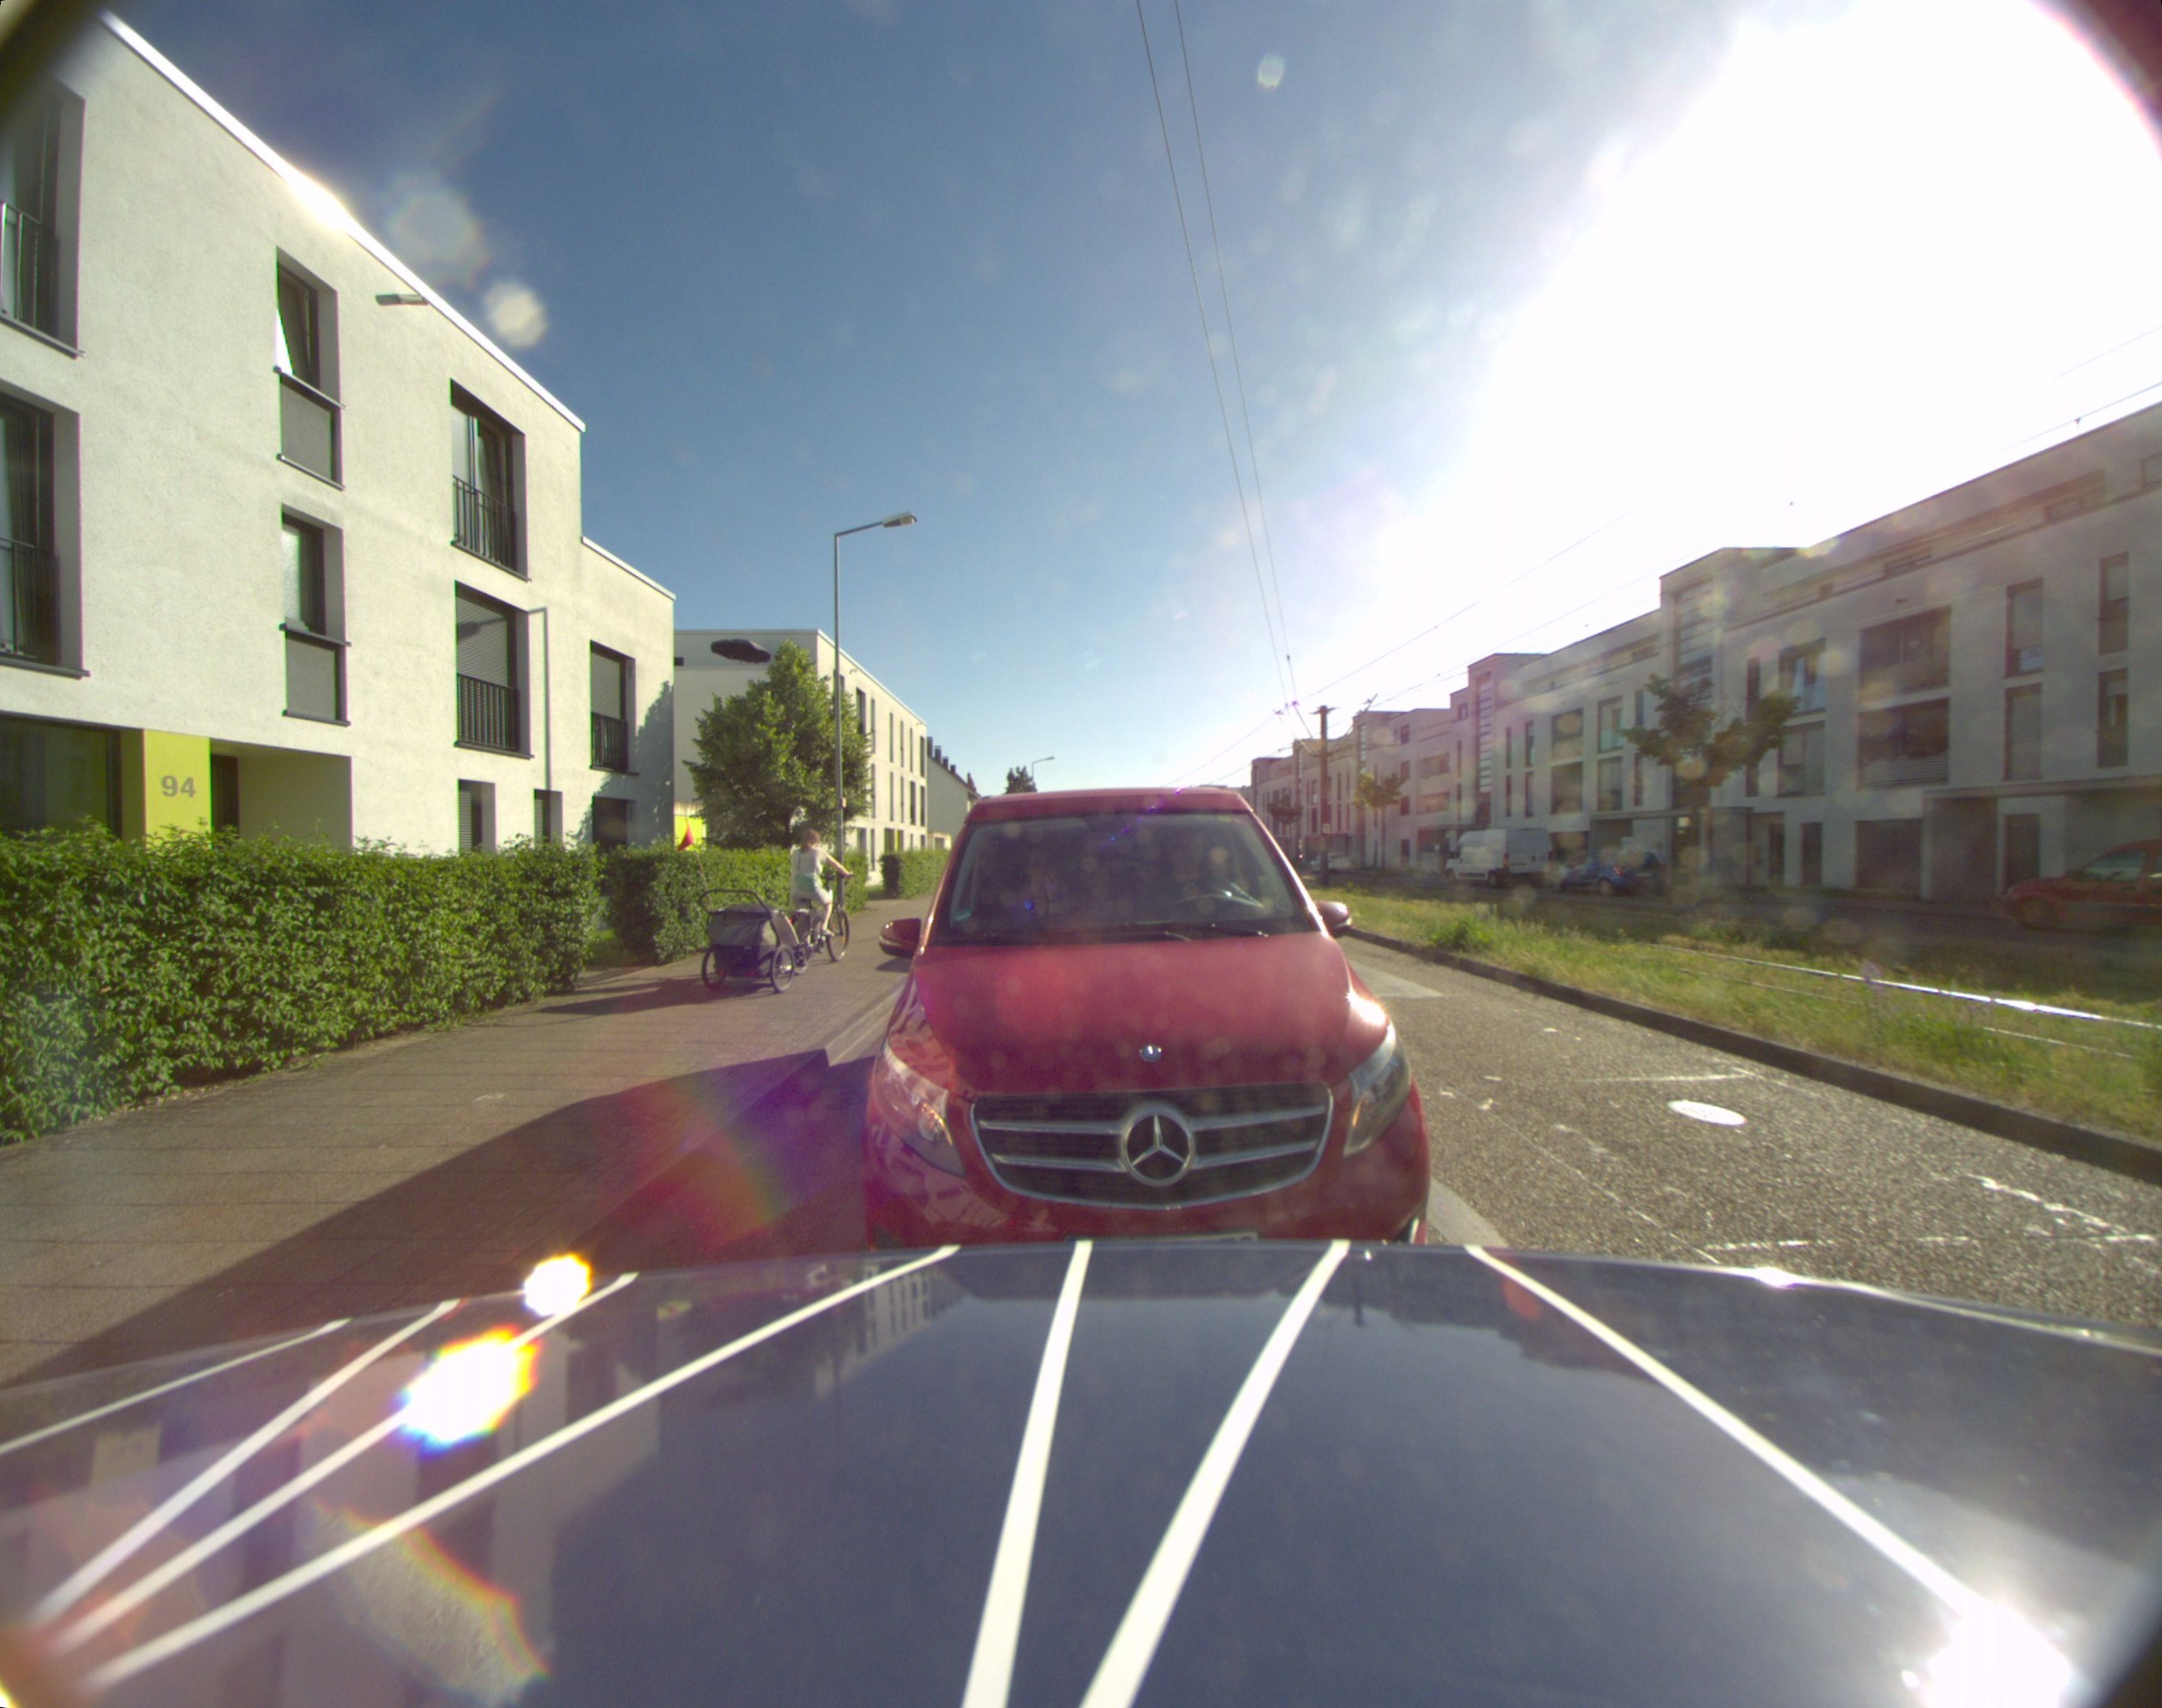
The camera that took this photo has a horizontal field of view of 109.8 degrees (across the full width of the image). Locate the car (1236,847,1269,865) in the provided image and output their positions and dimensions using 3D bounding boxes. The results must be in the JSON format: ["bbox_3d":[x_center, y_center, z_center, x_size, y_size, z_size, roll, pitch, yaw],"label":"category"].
[{"bbox_3d":[16.723,0.151,74.339,1.923,1.671,4.282,-2,1,-4],"label":"car"}]

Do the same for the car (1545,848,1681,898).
[{"bbox_3d":[18.381,0.590,26.485,1.999,1.536,3.835,-2,1,0],"label":"car"}]

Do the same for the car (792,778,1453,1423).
[{"bbox_3d":[0.156,0.709,4.484,1.874,1.843,4.506,-2,1,1],"label":"car"}]

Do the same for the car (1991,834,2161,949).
[{"bbox_3d":[18.621,0.592,12.794,1.998,1.817,3.895,-2,1,3],"label":"car"}]

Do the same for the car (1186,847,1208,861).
[{"bbox_3d":[15.192,-0.041,99.643,1.923,1.671,4.282,-2,1,-4],"label":"car"}]

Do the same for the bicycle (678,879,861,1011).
[{"bbox_3d":[-3.498,0.946,9.004,0.931,1.166,3.124,0,1,-1],"label":"bicycle"}]

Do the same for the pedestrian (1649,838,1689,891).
[{"bbox_3d":[20.767,0.347,26.829,0.776,1.812,0.785,-2,1,1],"label":"pedestrian"}]

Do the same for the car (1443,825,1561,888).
[{"bbox_3d":[18.173,0.089,33.156,2.225,2.458,5.195,-2,1,0],"label":"car"}]

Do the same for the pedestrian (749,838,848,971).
[{"bbox_3d":[-3.490,0.596,9.460,0.913,1.585,0.854,0,1,-1],"label":"pedestrian"}]

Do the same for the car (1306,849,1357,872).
[{"bbox_3d":[17.638,0.431,53.725,1.923,1.497,4.282,-2,1,-4],"label":"car"}]

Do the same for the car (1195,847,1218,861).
[{"bbox_3d":[15.478,-0.019,93.891,1.923,1.671,4.282,-2,1,-4],"label":"car"}]
